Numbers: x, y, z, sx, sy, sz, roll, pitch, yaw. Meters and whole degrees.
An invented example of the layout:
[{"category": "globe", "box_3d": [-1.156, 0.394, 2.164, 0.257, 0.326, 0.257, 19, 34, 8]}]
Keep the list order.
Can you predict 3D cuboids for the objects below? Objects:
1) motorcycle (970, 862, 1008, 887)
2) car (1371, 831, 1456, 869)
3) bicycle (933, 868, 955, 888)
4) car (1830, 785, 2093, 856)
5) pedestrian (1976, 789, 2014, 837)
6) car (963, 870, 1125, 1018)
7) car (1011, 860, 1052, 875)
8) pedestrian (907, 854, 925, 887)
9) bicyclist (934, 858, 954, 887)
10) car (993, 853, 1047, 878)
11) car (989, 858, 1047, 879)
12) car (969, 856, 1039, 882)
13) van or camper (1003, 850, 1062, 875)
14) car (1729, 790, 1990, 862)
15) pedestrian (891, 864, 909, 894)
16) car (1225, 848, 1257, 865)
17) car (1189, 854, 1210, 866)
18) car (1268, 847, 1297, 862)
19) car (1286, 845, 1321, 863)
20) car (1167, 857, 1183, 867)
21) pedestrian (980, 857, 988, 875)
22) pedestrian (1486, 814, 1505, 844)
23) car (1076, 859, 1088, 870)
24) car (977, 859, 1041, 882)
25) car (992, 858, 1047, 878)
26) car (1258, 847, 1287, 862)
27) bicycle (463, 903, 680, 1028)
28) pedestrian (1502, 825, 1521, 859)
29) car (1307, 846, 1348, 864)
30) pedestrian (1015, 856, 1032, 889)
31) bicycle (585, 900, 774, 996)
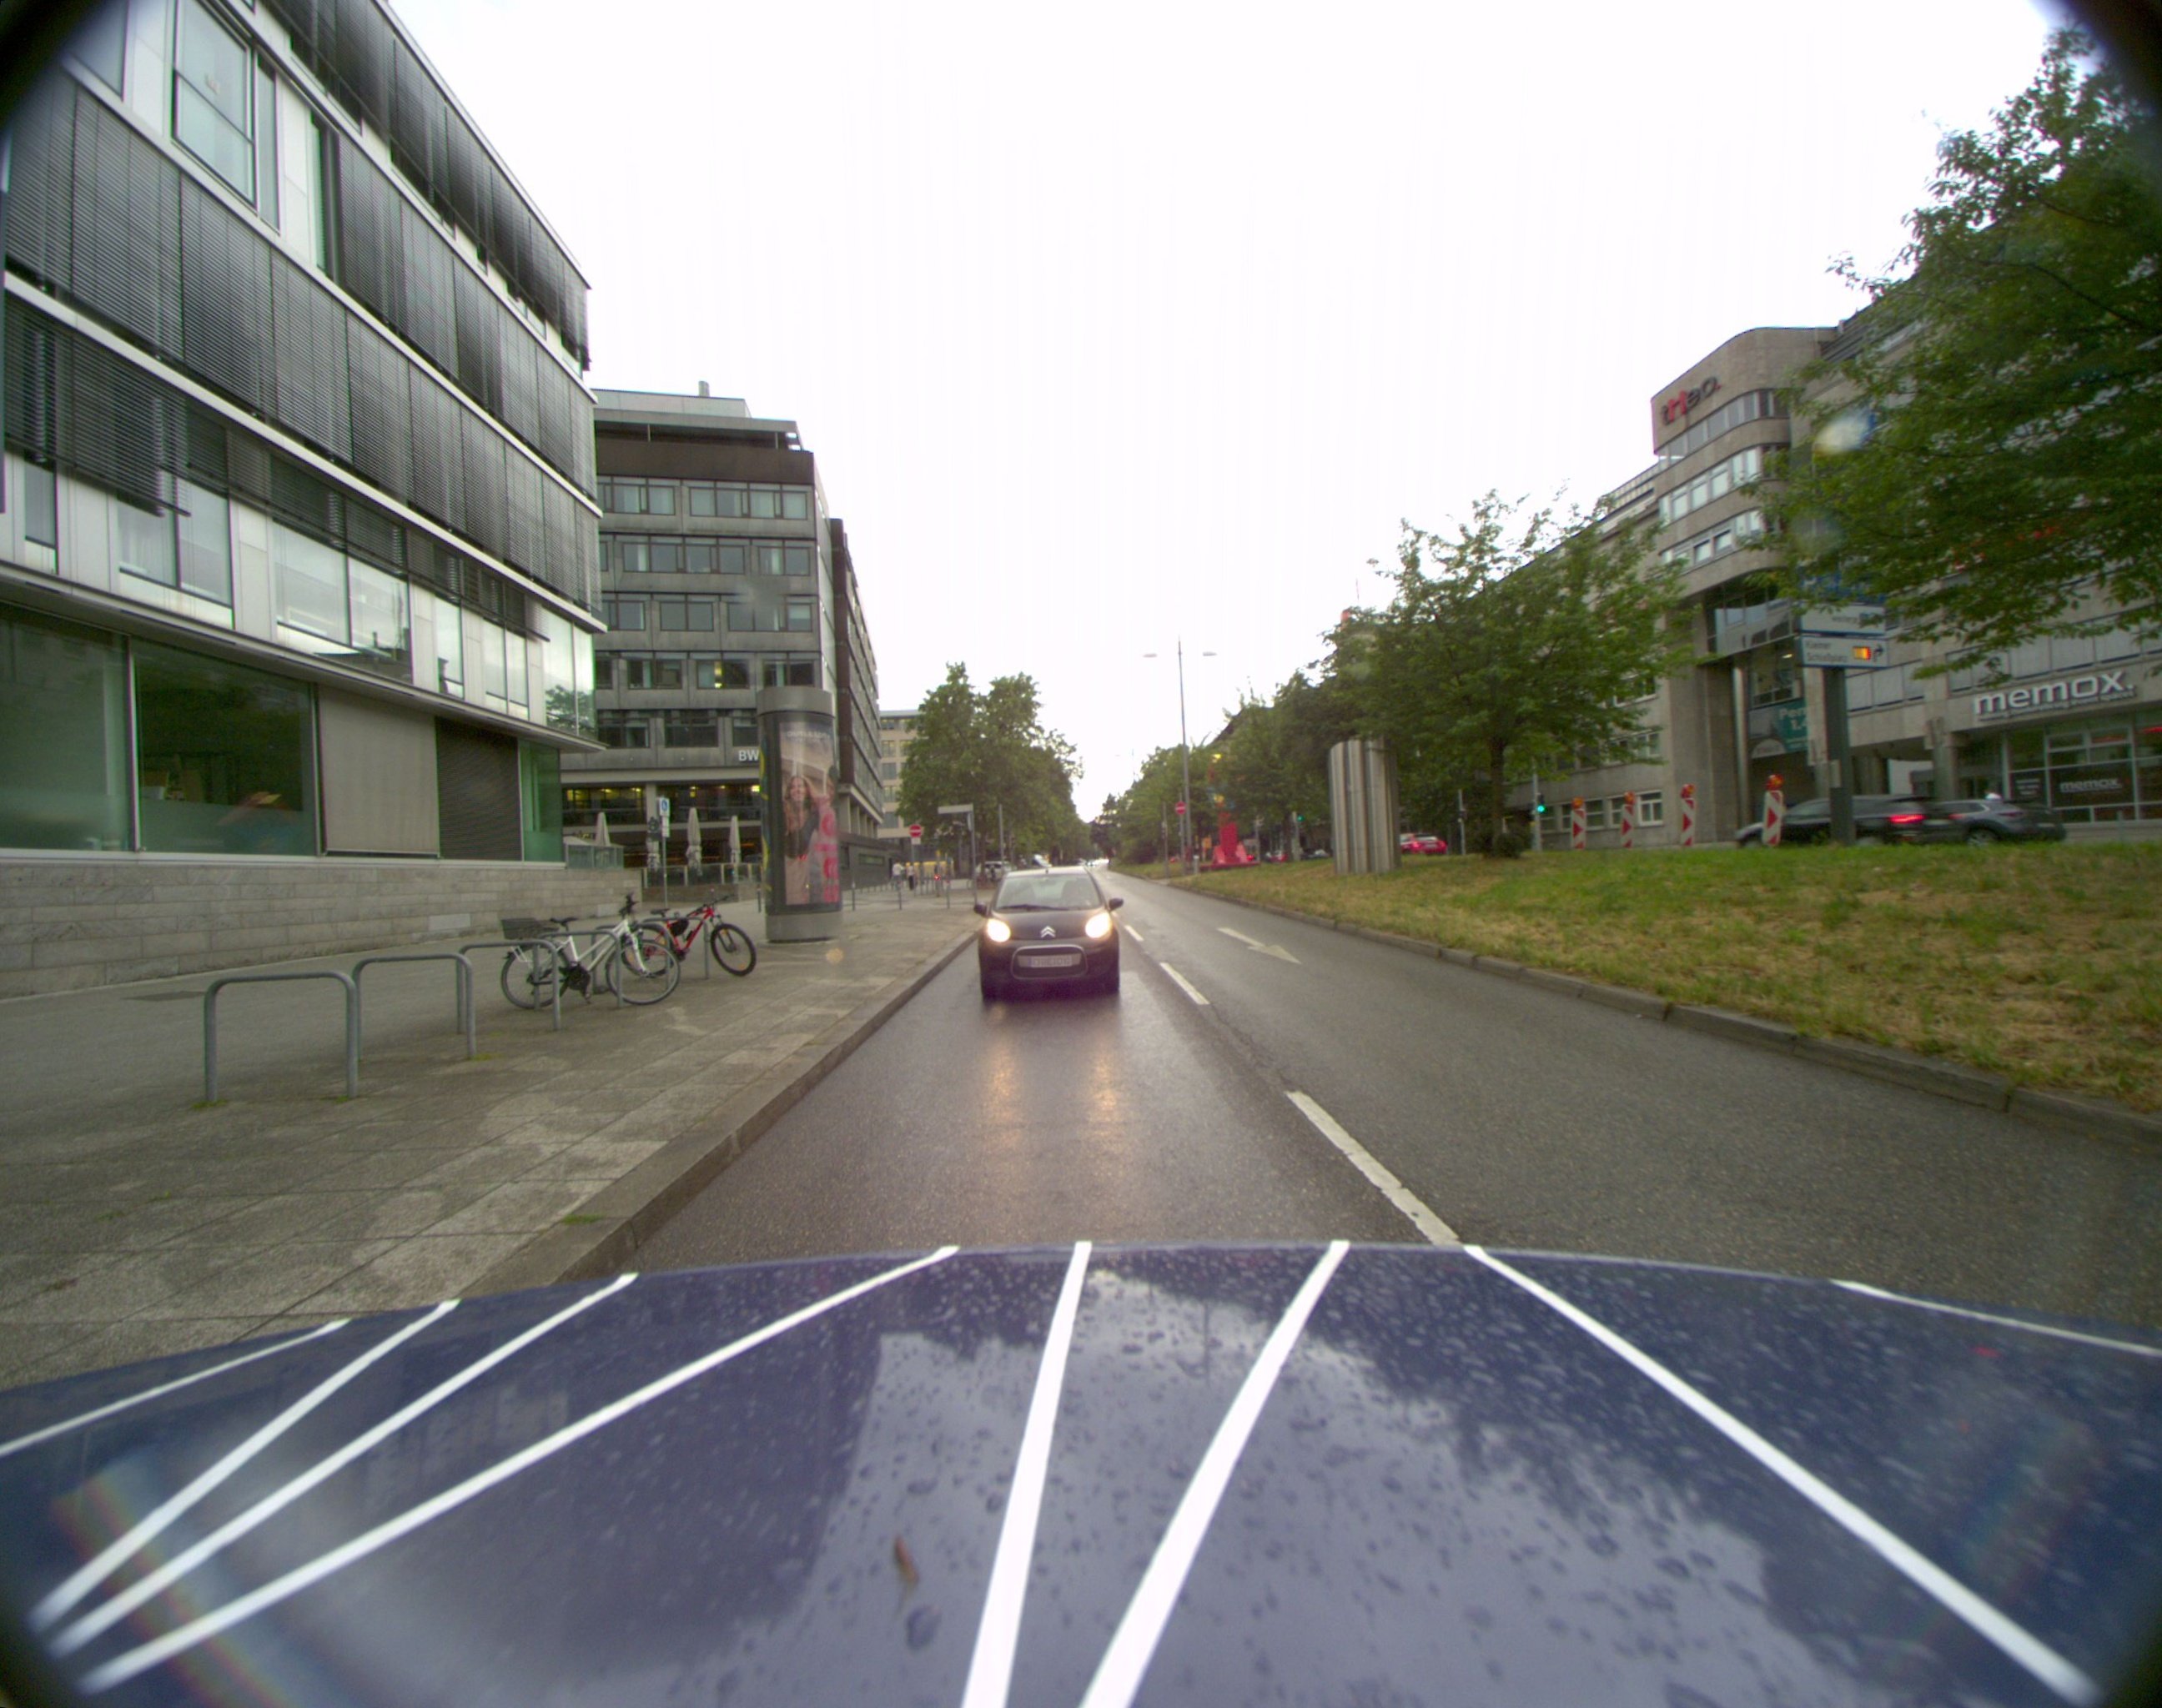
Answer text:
[{"category": "motorcycle", "box_3d": [-5.569, 1.249, 45.960, 2.087, 1.349, 0.677, -3, 0, 7]}, {"category": "car", "box_3d": [16.258, -0.188, 37.393, 1.951, 1.690, 3.997, -3, 0, -8]}, {"category": "bicycle", "box_3d": [-8.600, 1.529, 47.856, 0.776, 1.132, 1.979, -6, 0, 4]}, {"category": "car", "box_3d": [24.895, -0.850, 21.835, 1.867, 1.715, 4.791, -2, 0, -3]}, {"category": "pedestrian", "box_3d": [34.858, -1.548, 28.981, 0.721, 1.777, 0.529, -3, 0, -2]}, {"category": "car", "box_3d": [-0.462, 0.991, 9.934, 1.634, 1.408, 3.834, -3, 0, -2]}, {"category": "car", "box_3d": [-5.398, 1.468, 82.702, 4.052, 1.415, 1.711, -4, 0, 29]}, {"category": "pedestrian", "box_3d": [-10.439, 1.052, 48.042, 0.852, 2.027, 0.753, -3, 0, -3]}, {"category": "bicyclist", "box_3d": [-8.638, 1.163, 47.889, 0.811, 1.739, 1.079, -6, 2, 4]}, {"category": "car", "box_3d": [-5.548, 1.078, 69.255, 4.507, 1.981, 1.925, -4, 0, 29]}, {"category": "car", "box_3d": [-5.293, 1.204, 63.617, 4.347, 1.528, 1.919, -4, 0, 27]}, {"category": "car", "box_3d": [-5.653, 1.118, 55.607, 4.792, 1.640, 1.920, -4, 0, 30]}, {"category": "van or camper", "box_3d": [-5.540, 0.950, 86.367, 6.250, 2.432, 2.319, -4, 0, 30]}, {"category": "car", "box_3d": [18.320, -0.589, 18.179, 1.873, 1.466, 3.997, -3, 0, -8]}, {"category": "pedestrian", "box_3d": [-11.401, 1.566, 47.879, 0.803, 1.857, 0.898, -3, 0, 0]}, {"category": "car", "box_3d": [14.844, 0.236, 70.689, 1.867, 1.421, 4.131, -2, 0, -4]}, {"category": "car", "box_3d": [14.640, 0.748, 94.027, 1.866, 1.421, 4.566, -2, -1, -1]}, {"category": "car", "box_3d": [20.422, 0.061, 77.086, 1.690, 1.493, 3.692, -2, 0, -3]}, {"category": "car", "box_3d": [21.067, 0.035, 72.104, 1.867, 1.612, 4.467, -2, 0, -3]}, {"category": "car", "box_3d": [13.964, 1.126, 112.985, 1.794, 1.406, 4.000, -1, -1, -1]}, {"category": "pedestrian", "box_3d": [-10.158, 1.273, 79.899, 0.721, 1.873, 0.656, -3, 0, -6]}, {"category": "pedestrian", "box_3d": [23.056, -1.363, 42.254, 0.607, 1.619, 0.620, -3, 0, 1]}, {"category": "car", "box_3d": [0.148, 1.755, 128.597, 1.791, 1.736, 4.574, -2, 0, -3]}, {"category": "car", "box_3d": [-5.587, 1.281, 58.775, 4.711, 1.465, 1.920, -4, 0, 32]}, {"category": "car", "box_3d": [-5.384, 1.217, 66.373, 4.381, 1.528, 1.919, -4, 0, 27]}, {"category": "car", "box_3d": [20.543, 0.118, 81.651, 1.791, 1.478, 4.574, -2, 0, -3]}, {"category": "bicycle", "box_3d": [-5.304, 1.145, 7.963, 1.840, 1.190, 0.660, -1, 0, 4]}, {"category": "pedestrian", "box_3d": [23.339, -0.652, 41.199, 0.529, 1.777, 0.721, -3, 0, 1]}, {"category": "car", "box_3d": [21.670, 0.122, 66.917, 1.867, 1.421, 4.565, -2, -1, -3]}, {"category": "pedestrian", "box_3d": [-3.017, 0.977, 39.764, 0.528, 1.675, 0.722, -3, 0, 24]}, {"category": "bicycle", "box_3d": [-5.145, 1.197, 9.815, 1.988, 1.097, 0.808, -2, 0, 4]}]
